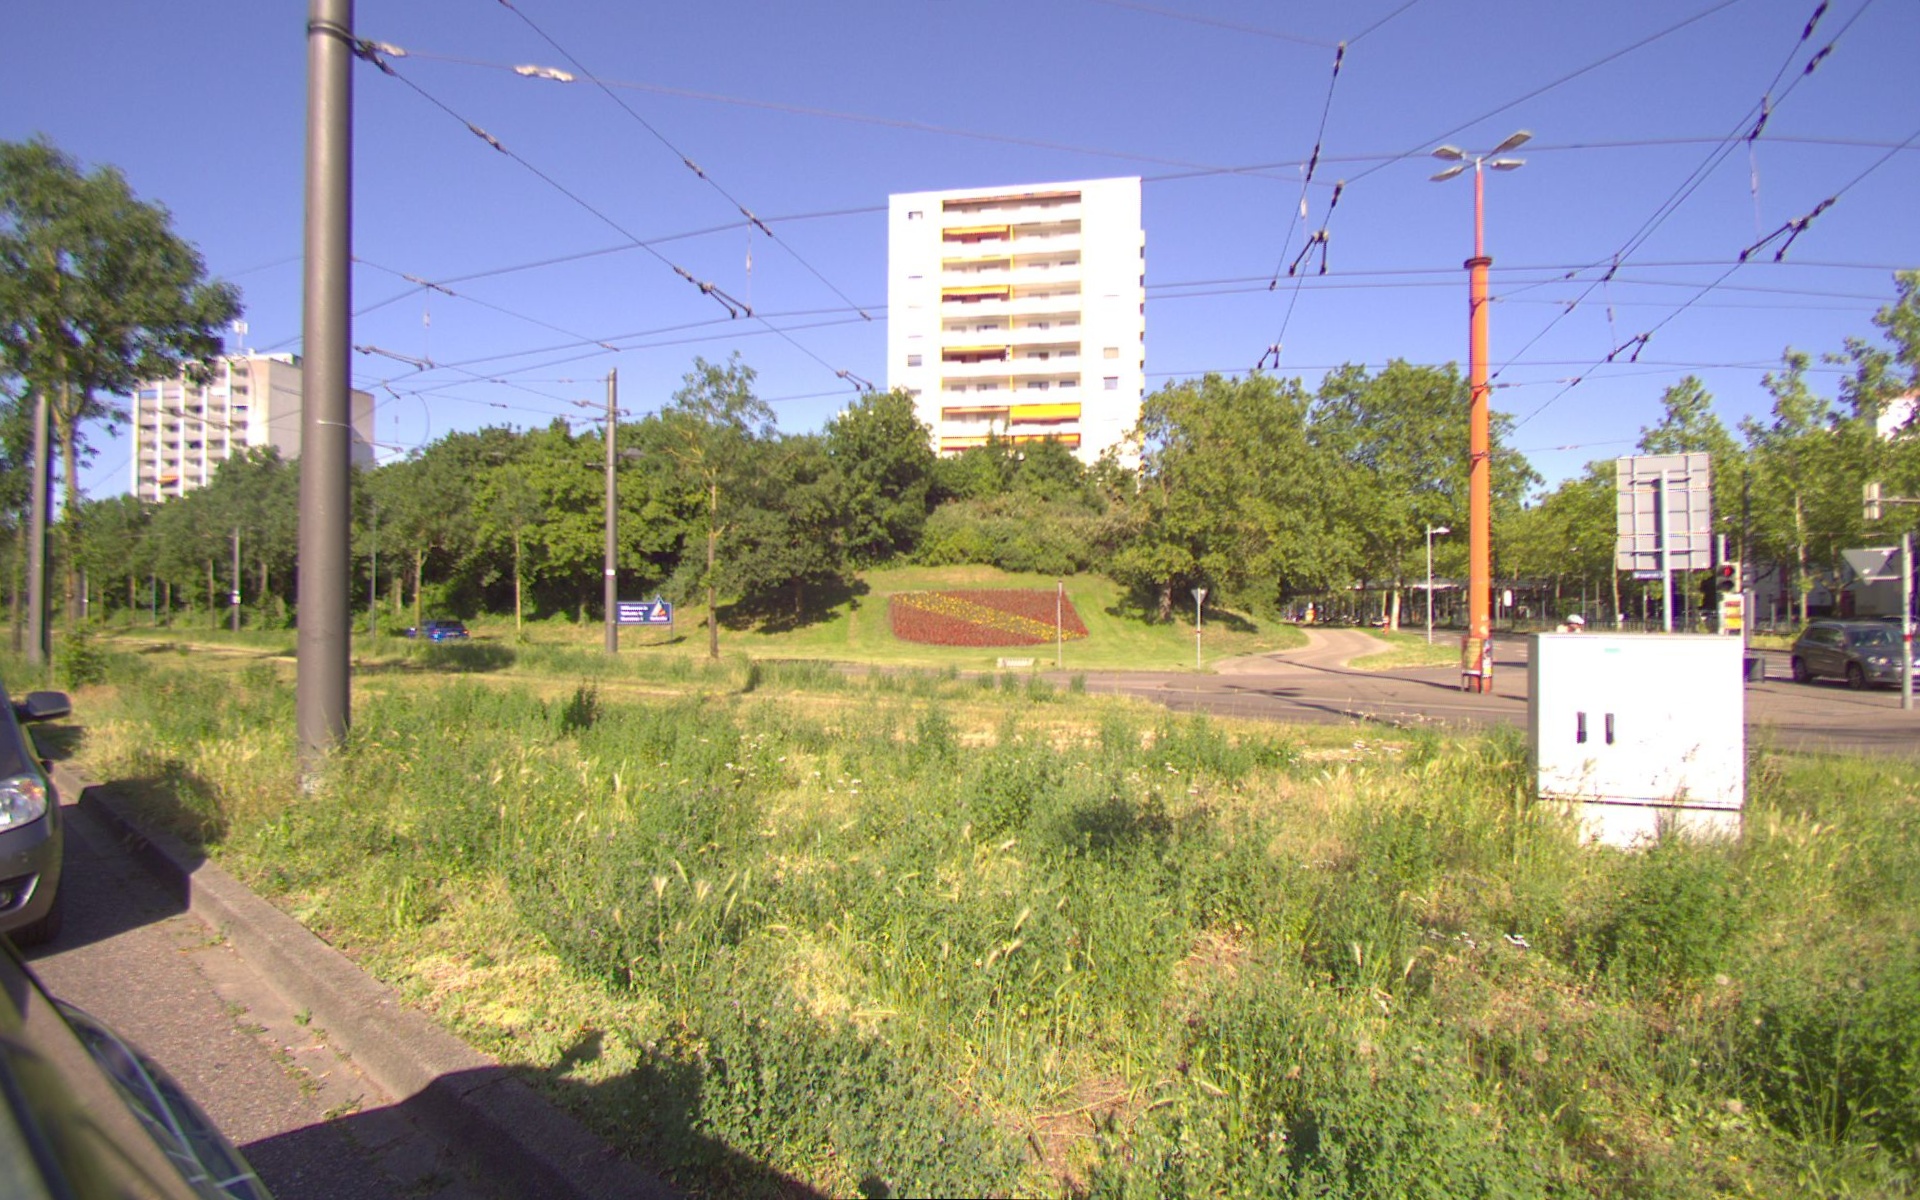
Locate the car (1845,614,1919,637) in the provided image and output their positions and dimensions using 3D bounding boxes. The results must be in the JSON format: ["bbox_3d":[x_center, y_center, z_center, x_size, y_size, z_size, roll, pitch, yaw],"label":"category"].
[{"bbox_3d":[63.804,1.741,69.989,1.589,1.471,3.656,-1,0,-38],"label":"car"}]

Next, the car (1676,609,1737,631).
[{"bbox_3d":[72.146,1.937,97.866,1.909,1.999,4.350,1,-2,-38],"label":"car"}]

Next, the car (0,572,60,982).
[{"bbox_3d":[-5.823,0.753,4.886,3.998,1.652,1.726,-1,0,41],"label":"car"}]

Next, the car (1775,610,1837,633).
[{"bbox_3d":[58.763,1.519,70.386,1.822,1.514,3.930,0,-2,15],"label":"car"}]

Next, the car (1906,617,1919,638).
[{"bbox_3d":[63.689,1.775,65.157,1.472,1.341,3.746,-1,0,-27],"label":"car"}]

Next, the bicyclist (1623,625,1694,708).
[{"bbox_3d":[13.493,1.265,19.582,0.710,1.536,0.924,-1,0,0],"label":"bicyclist"}]

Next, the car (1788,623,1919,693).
[{"bbox_3d":[23.018,1.392,25.413,1.900,1.507,4.026,-1,0,15],"label":"car"}]

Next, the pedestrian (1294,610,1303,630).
[{"bbox_3d":[26.285,1.533,78.572,0.682,1.568,0.984,-1,-1,21],"label":"pedestrian"}]

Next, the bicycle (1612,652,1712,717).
[{"bbox_3d":[13.506,1.595,19.532,0.571,1.079,1.916,-1,0,0],"label":"bicycle"}]

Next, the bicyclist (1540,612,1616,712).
[{"bbox_3d":[12.117,1.192,19.868,0.880,1.881,0.924,-1,0,-2],"label":"bicyclist"}]

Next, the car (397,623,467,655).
[{"bbox_3d":[-24.268,1.772,46.454,3.908,1.431,1.557,-2,-2,42],"label":"car"}]

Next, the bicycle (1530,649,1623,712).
[{"bbox_3d":[12.071,1.548,19.885,0.571,1.079,1.917,-1,0,-3],"label":"bicycle"}]

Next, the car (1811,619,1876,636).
[{"bbox_3d":[64.408,1.987,73.841,1.425,1.197,3.423,-1,0,-41],"label":"car"}]
